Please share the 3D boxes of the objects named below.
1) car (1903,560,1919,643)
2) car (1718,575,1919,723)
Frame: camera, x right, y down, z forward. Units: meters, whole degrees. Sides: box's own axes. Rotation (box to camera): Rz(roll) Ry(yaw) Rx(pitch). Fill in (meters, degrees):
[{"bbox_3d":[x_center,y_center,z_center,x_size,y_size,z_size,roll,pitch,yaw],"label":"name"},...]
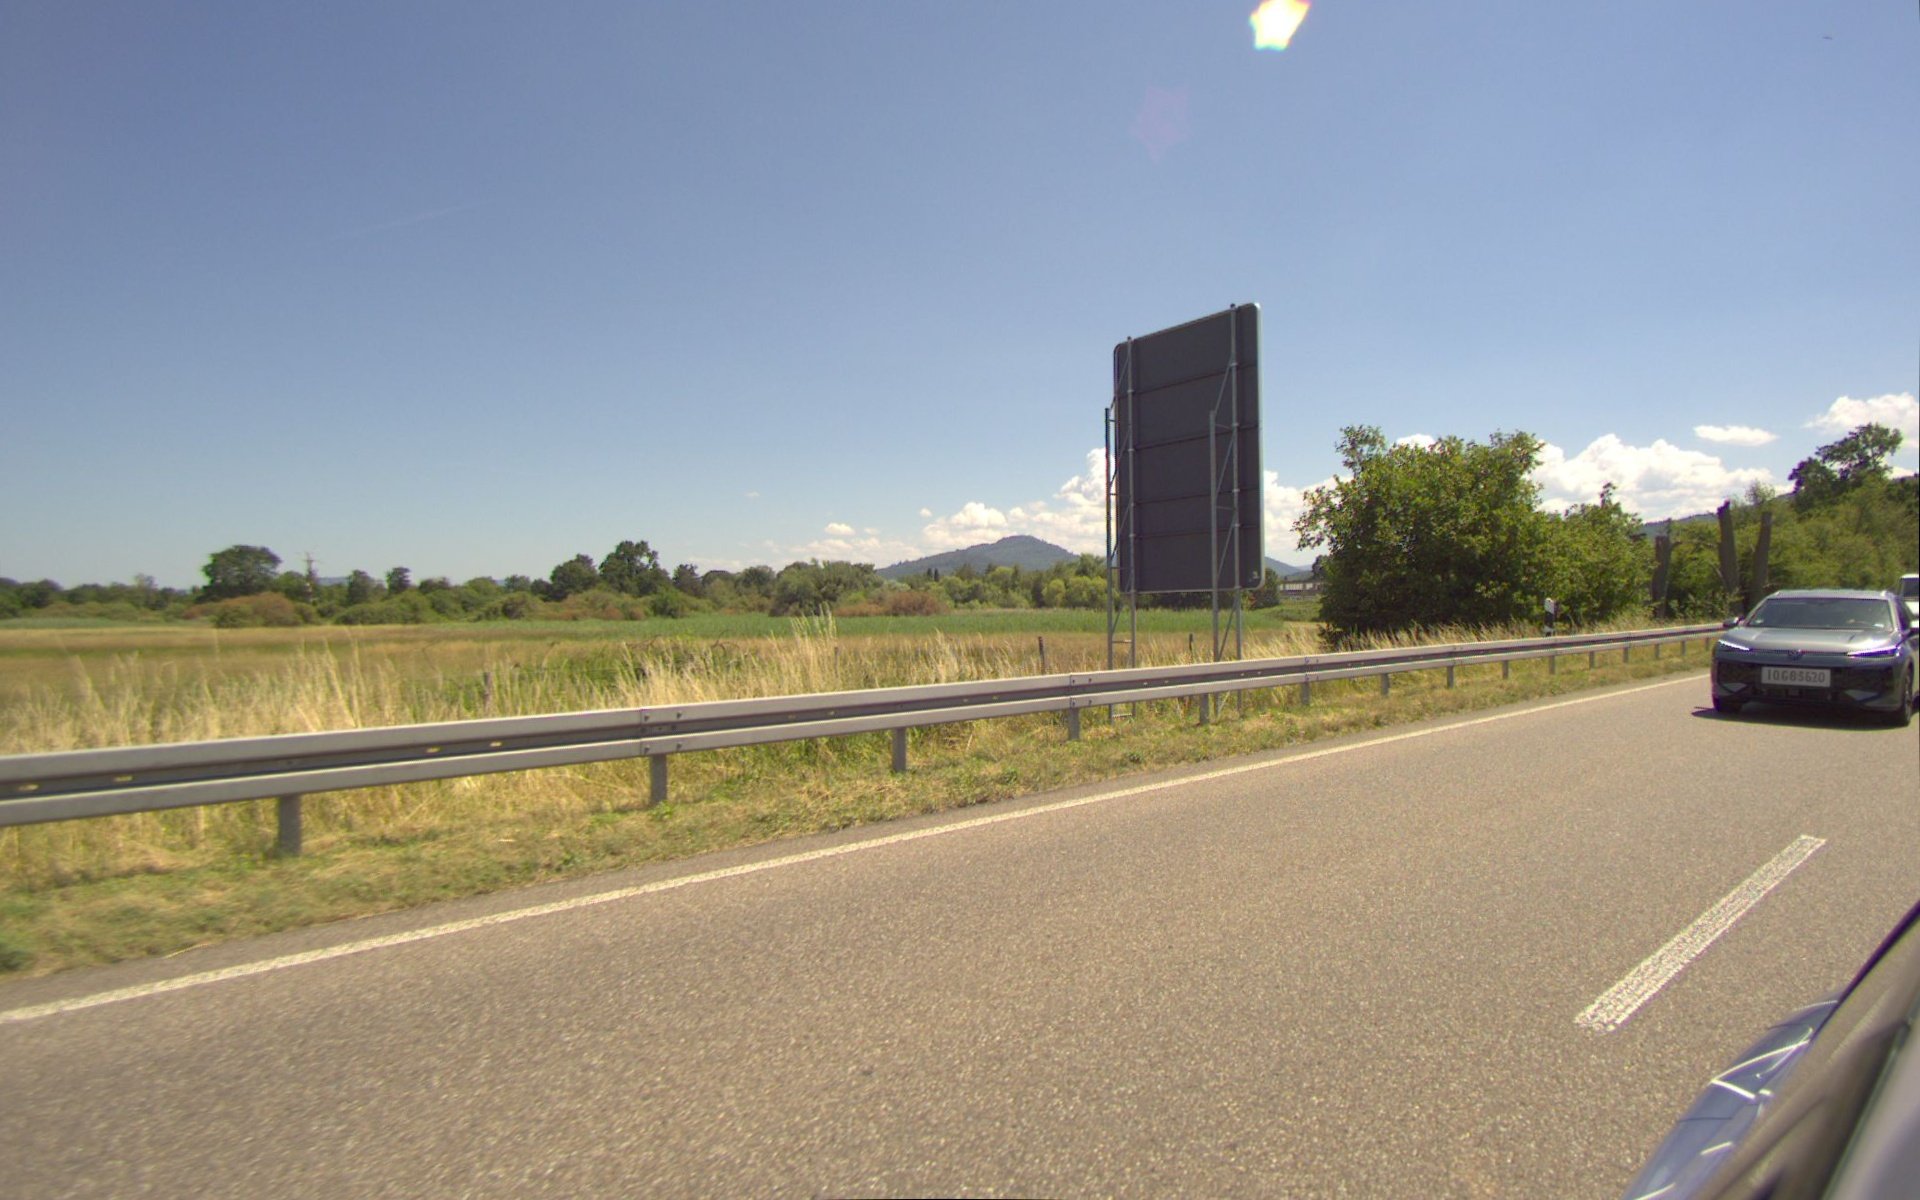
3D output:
[{"bbox_3d":[25.690,0.042,25.756,4.947,2.014,2.009,0,-1,-42],"label":"car"},{"bbox_3d":[11.117,0.509,12.708,3.949,1.573,1.788,0,1,-41],"label":"car"}]
